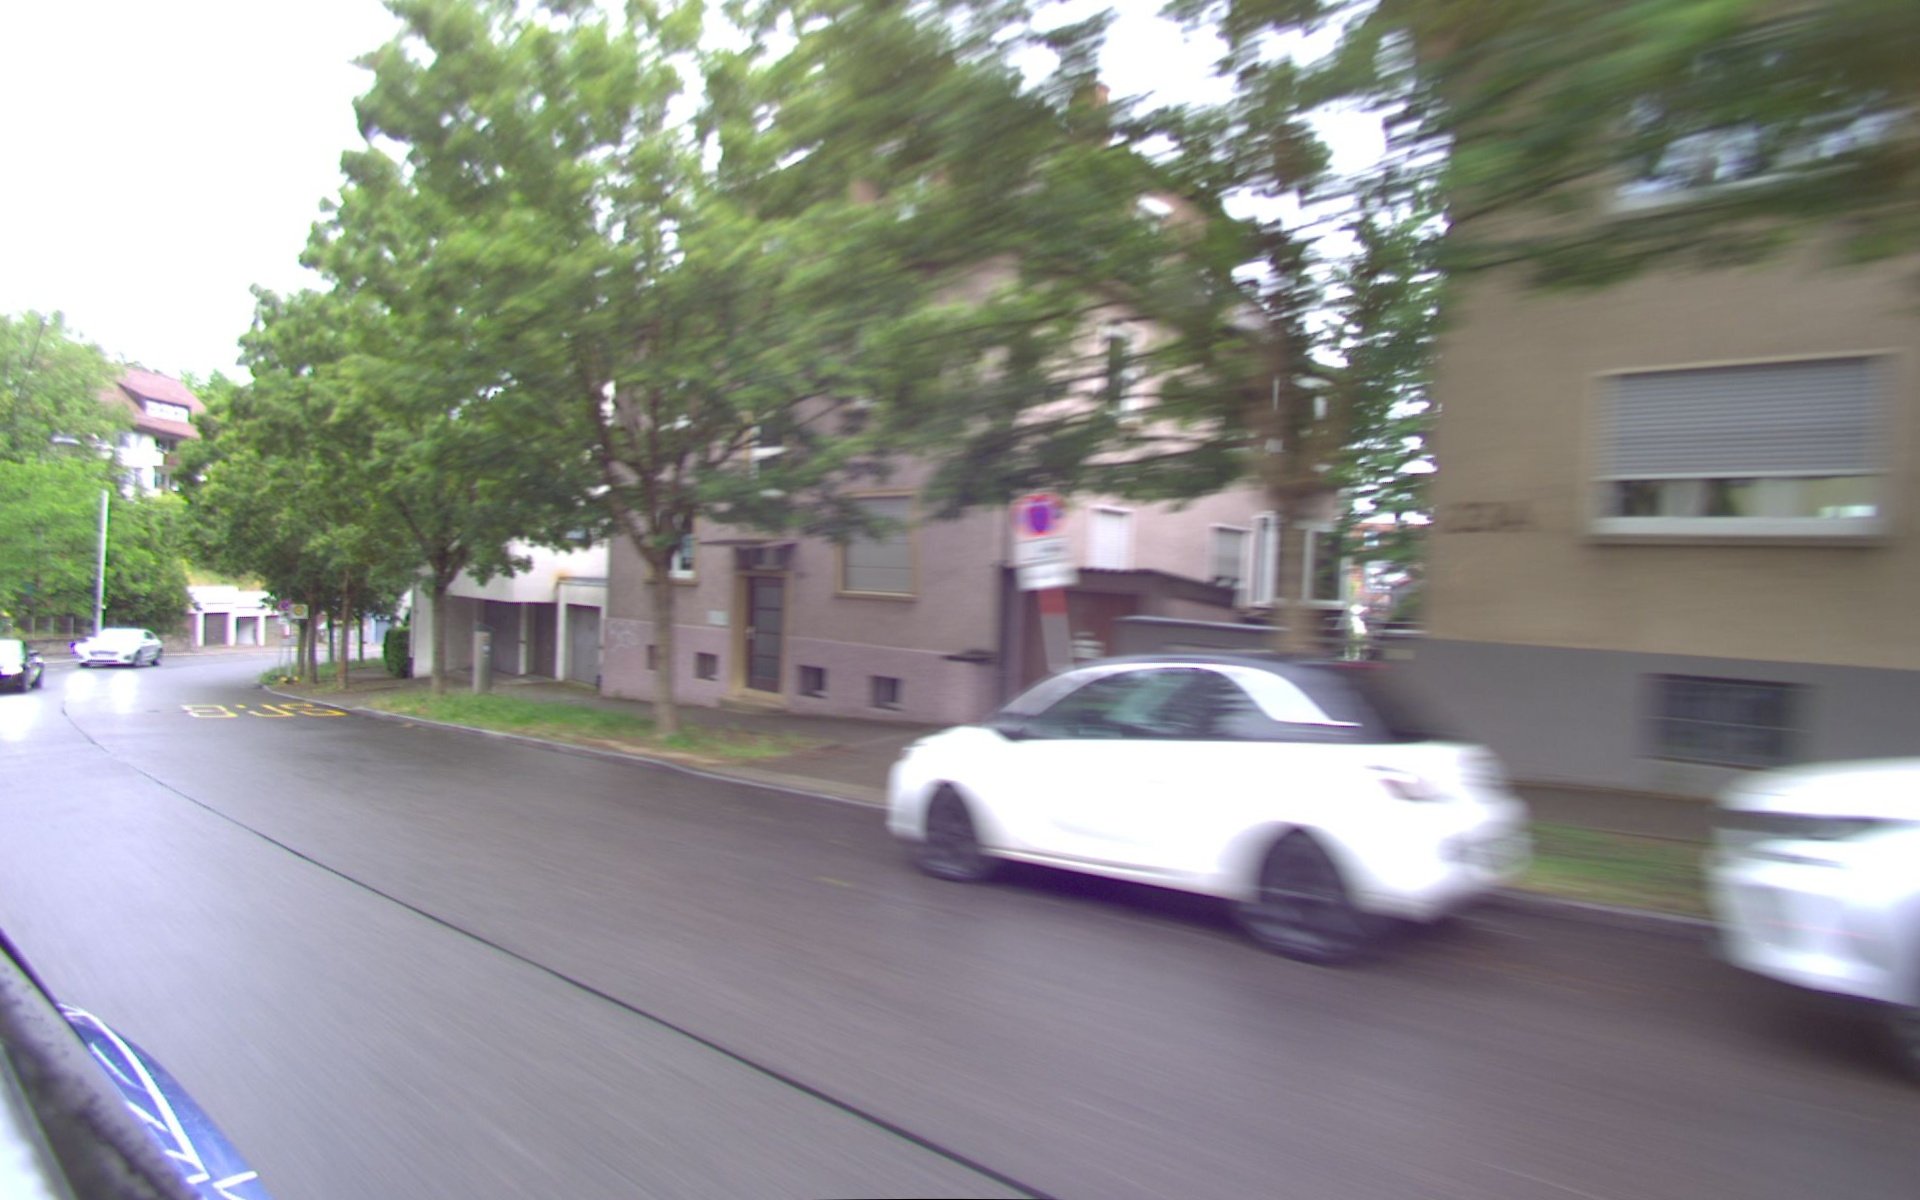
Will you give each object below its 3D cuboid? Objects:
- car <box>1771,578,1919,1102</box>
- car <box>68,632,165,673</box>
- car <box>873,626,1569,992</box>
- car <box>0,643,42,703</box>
[{"bbox_3d":[4.847,0.819,2.871,3.918,1.671,1.577,-1,-7,38],"label":"car"},{"bbox_3d":[-36.275,2.228,43.682,1.979,1.674,4.460,1,-3,-23],"label":"car"},{"bbox_3d":[1.327,0.974,6.008,3.669,1.482,1.600,-2,-7,44],"label":"car"},{"bbox_3d":[-25.899,1.901,26.934,1.779,1.500,4.025,2,-3,-38],"label":"car"}]
